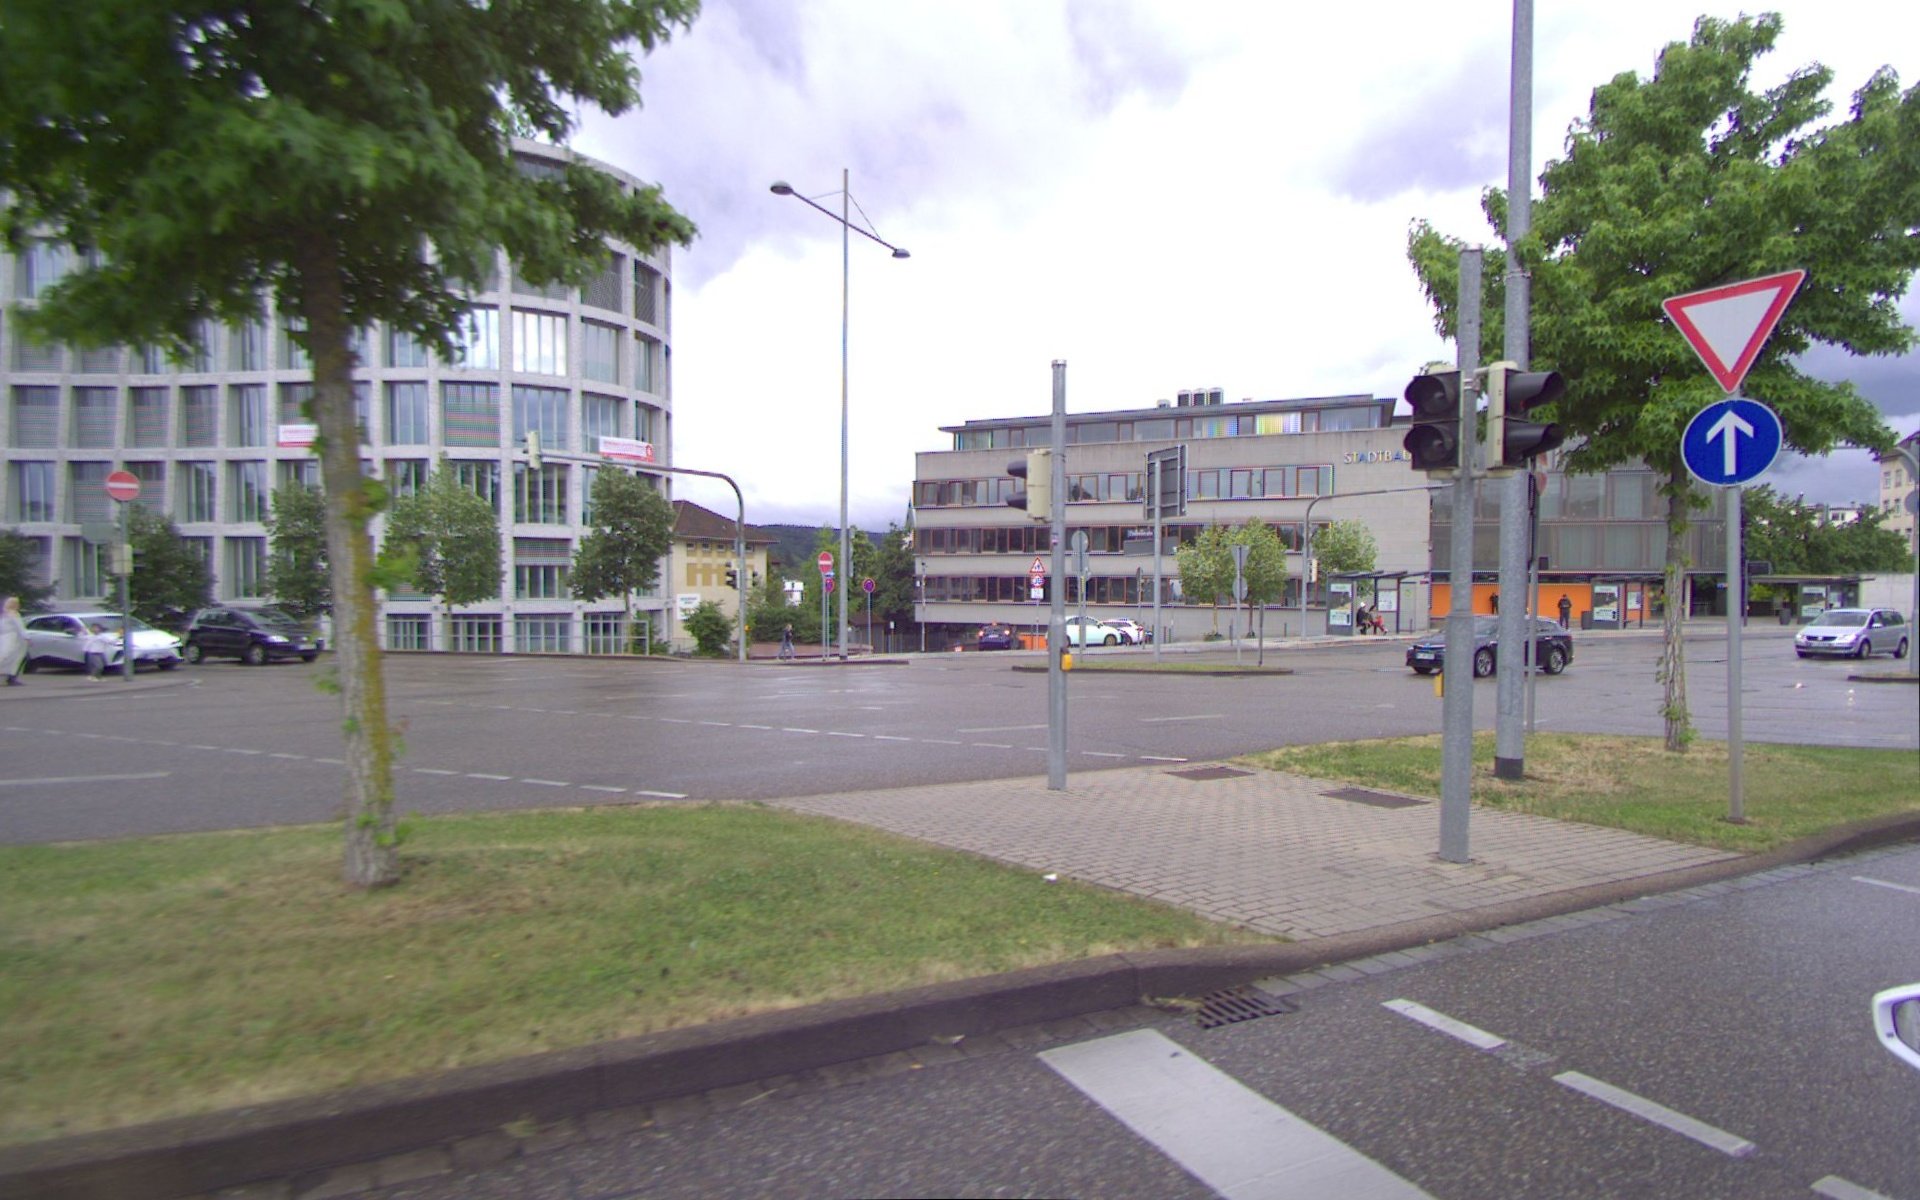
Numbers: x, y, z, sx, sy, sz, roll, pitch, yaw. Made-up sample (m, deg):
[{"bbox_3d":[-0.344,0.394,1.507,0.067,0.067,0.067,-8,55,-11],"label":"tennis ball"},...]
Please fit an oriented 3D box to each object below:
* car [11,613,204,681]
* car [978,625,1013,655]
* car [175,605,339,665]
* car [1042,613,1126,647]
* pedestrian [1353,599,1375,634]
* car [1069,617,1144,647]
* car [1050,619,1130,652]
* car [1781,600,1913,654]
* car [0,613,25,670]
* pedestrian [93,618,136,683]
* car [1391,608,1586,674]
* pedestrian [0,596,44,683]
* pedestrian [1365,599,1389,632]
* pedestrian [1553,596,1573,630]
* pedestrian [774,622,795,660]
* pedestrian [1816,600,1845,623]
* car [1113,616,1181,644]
[{"bbox_3d":[-21.723,1.150,25.628,4.059,1.589,1.888,0,0,17],"label":"car"},{"bbox_3d":[1.836,2.010,51.218,1.453,1.369,3.584,1,0,7],"label":"car"},{"bbox_3d":[-19.495,0.925,27.890,3.761,1.589,1.729,0,0,16],"label":"car"},{"bbox_3d":[5.725,1.372,46.471,3.519,1.515,1.629,0,0,-12],"label":"car"},{"bbox_3d":[17.674,0.718,43.922,0.618,1.488,0.675,0,0,-29],"label":"pedestrian"},{"bbox_3d":[7.564,1.648,51.814,3.711,1.515,1.767,0,0,12],"label":"car"},{"bbox_3d":[6.289,1.700,48.764,3.519,1.515,1.629,0,0,-12],"label":"car"},{"bbox_3d":[29.346,0.850,33.226,4.362,1.674,1.840,0,0,-27],"label":"car"},{"bbox_3d":[-27.504,1.103,26.906,3.974,1.528,1.729,0,0,14],"label":"car"},{"bbox_3d":[-17.505,1.043,20.816,0.626,1.309,0.646,3,-3,-40],"label":"pedestrian"},{"bbox_3d":[13.236,0.962,25.101,4.854,1.524,1.841,0,0,-26],"label":"car"},{"bbox_3d":[-17.921,0.741,18.950,0.618,1.590,0.654,1,-2,12],"label":"pedestrian"},{"bbox_3d":[18.355,0.684,44.197,0.712,1.411,0.675,0,0,-29],"label":"pedestrian"},{"bbox_3d":[29.753,0.639,49.558,0.751,1.706,0.473,0,0,-21],"label":"pedestrian"},{"bbox_3d":[-7.397,1.721,42.341,0.696,1.604,0.668,1,0,-29],"label":"pedestrian"},{"bbox_3d":[52.860,0.698,61.002,0.833,1.285,0.977,0,4,-6],"label":"pedestrian"},{"bbox_3d":[10.674,1.696,57.504,3.517,1.515,1.630,0,0,-9],"label":"car"}]
